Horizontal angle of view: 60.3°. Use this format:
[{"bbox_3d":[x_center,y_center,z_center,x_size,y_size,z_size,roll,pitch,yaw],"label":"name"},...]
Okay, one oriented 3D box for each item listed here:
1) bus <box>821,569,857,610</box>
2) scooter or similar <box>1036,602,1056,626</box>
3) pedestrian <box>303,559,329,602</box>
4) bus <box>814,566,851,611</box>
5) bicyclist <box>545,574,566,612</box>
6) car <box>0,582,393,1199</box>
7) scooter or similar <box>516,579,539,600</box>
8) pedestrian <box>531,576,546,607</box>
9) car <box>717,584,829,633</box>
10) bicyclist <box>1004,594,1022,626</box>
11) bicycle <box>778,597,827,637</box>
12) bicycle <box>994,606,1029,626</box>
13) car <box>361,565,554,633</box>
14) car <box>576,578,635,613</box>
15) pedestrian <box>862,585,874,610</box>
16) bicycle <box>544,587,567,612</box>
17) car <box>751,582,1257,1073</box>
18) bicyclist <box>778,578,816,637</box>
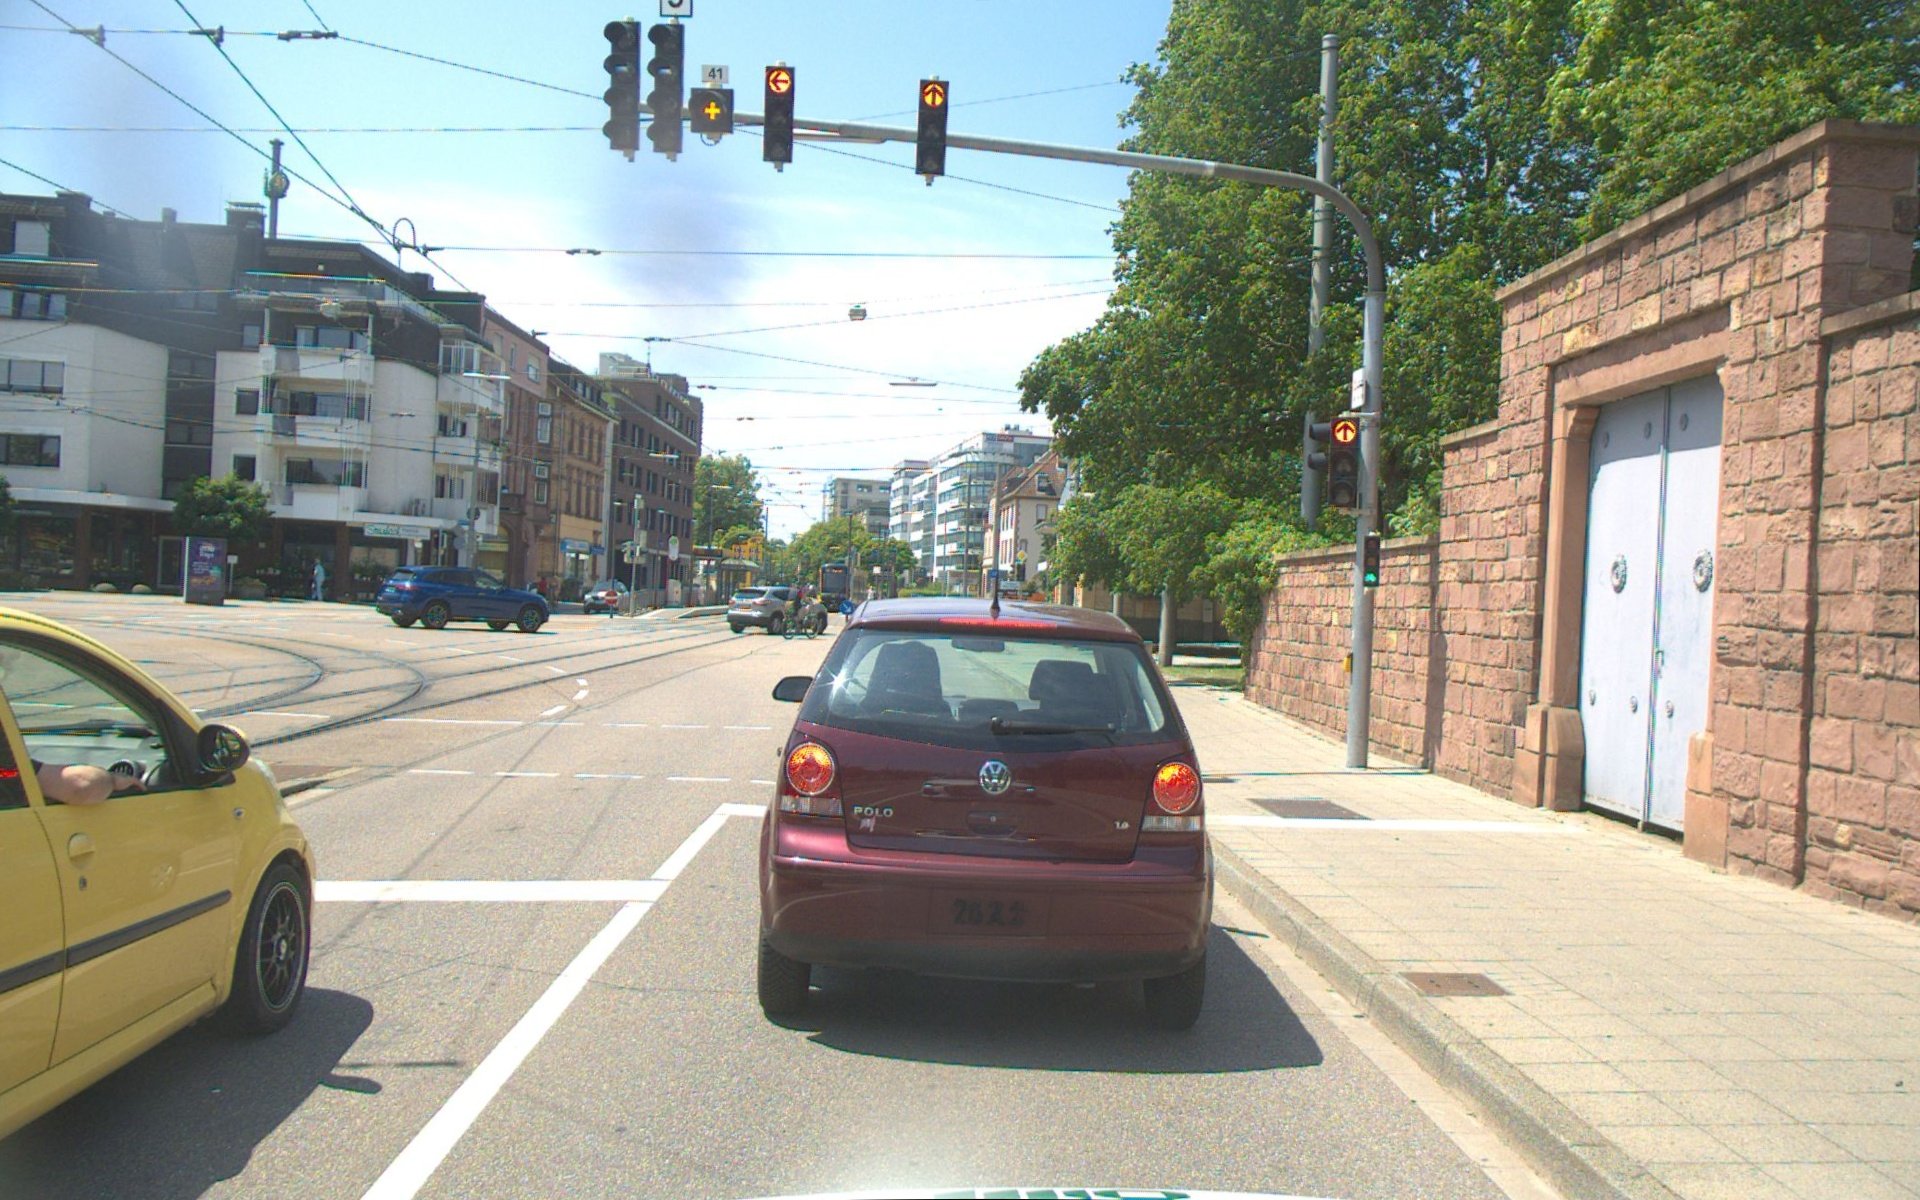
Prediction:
[{"bbox_3d":[-9.289,-0.797,127.520,2.187,3.055,6.593,2,0,0],"label":"bus"},{"bbox_3d":[4.341,0.709,83.752,0.335,1.198,1.456,3,0,-25],"label":"scooter or similar"},{"bbox_3d":[-26.493,-0.788,68.063,0.790,1.726,0.700,2,0,-8],"label":"pedestrian"},{"bbox_3d":[-9.262,-0.825,120.944,2.101,3.055,6.573,2,0,0],"label":"bus"},{"bbox_3d":[-19.705,-0.343,80.607,0.680,1.796,1.137,2,1,-2],"label":"bicyclist"},{"bbox_3d":[-2.879,0.688,4.398,1.583,1.446,3.654,0,0,-2],"label":"car"},{"bbox_3d":[-23.893,-0.565,91.455,0.477,1.101,1.578,2,0,15],"label":"scooter or similar"},{"bbox_3d":[-21.901,-0.429,85.910,0.602,1.588,0.640,2,0,-2],"label":"pedestrian"},{"bbox_3d":[-6.387,0.307,56.806,1.789,1.556,3.992,2,0,29],"label":"car"},{"bbox_3d":[2.777,0.529,86.709,0.840,1.646,0.835,-1,1,-2],"label":"bicyclist"},{"bbox_3d":[-4.948,0.543,52.061,0.369,1.218,1.899,2,0,34],"label":"bicycle"},{"bbox_3d":[2.707,0.848,86.720,1.820,1.020,0.670,-1,1,-2],"label":"bicycle"},{"bbox_3d":[-13.580,-0.003,44.885,4.597,1.653,1.967,2,0,-45],"label":"car"},{"bbox_3d":[-17.206,-0.214,80.425,1.953,1.580,4.138,2,0,-1],"label":"car"},{"bbox_3d":[-6.445,-0.174,116.034,0.747,1.704,1.100,2,0,-1],"label":"pedestrian"},{"bbox_3d":[-19.715,-0.039,80.659,0.680,1.169,1.931,2,1,-2],"label":"bicycle"},{"bbox_3d":[0.095,0.710,6.697,1.530,1.479,3.060,2,0,-2],"label":"car"},{"bbox_3d":[-5.108,0.242,51.870,0.714,1.791,0.921,2,0,34],"label":"bicyclist"}]
